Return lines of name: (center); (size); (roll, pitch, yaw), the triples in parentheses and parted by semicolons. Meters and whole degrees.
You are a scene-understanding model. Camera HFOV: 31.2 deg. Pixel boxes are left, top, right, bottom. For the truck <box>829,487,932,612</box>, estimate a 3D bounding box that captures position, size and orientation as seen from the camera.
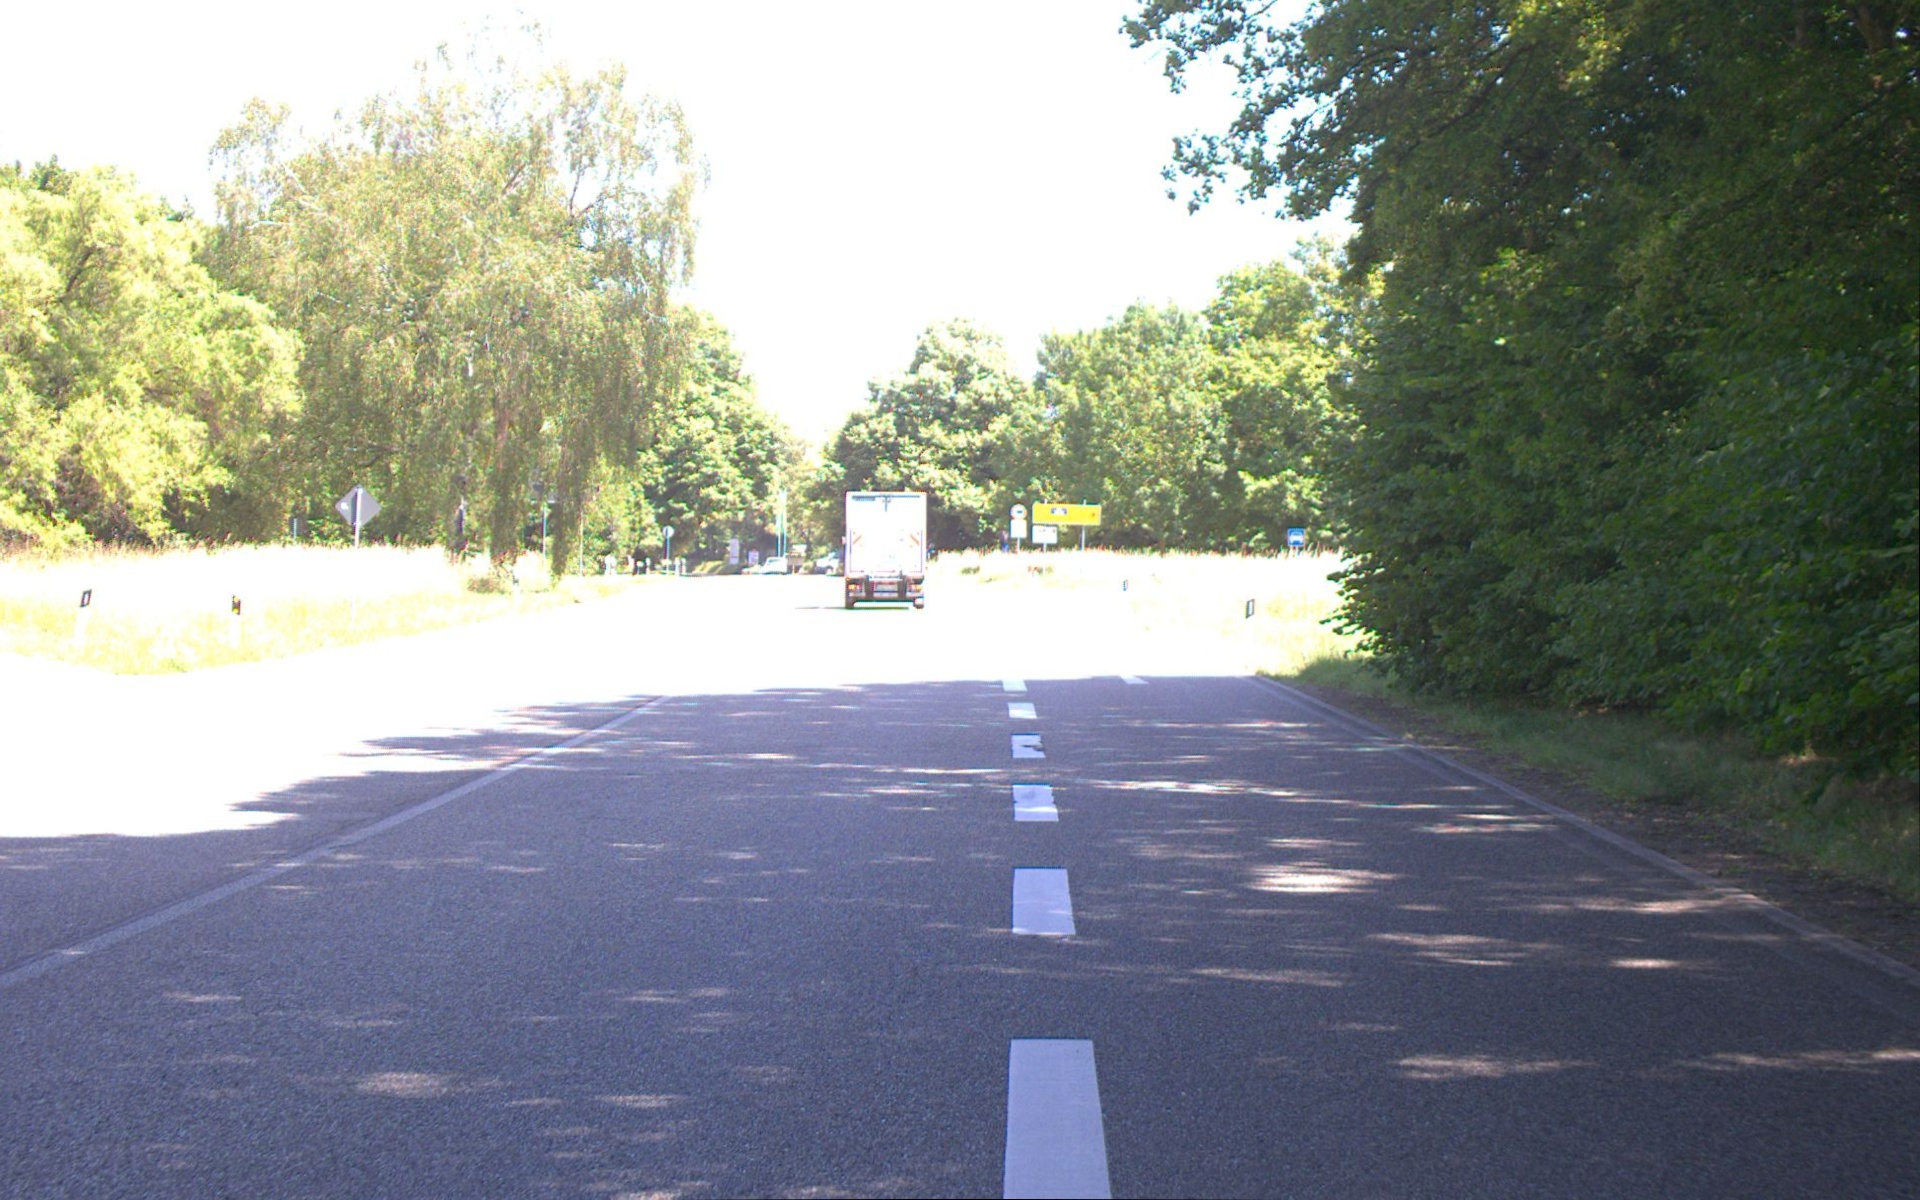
truck: (-2.017, -1.324, 88.865); (2.533, 3.124, 5.361); (1, 1, 0)
